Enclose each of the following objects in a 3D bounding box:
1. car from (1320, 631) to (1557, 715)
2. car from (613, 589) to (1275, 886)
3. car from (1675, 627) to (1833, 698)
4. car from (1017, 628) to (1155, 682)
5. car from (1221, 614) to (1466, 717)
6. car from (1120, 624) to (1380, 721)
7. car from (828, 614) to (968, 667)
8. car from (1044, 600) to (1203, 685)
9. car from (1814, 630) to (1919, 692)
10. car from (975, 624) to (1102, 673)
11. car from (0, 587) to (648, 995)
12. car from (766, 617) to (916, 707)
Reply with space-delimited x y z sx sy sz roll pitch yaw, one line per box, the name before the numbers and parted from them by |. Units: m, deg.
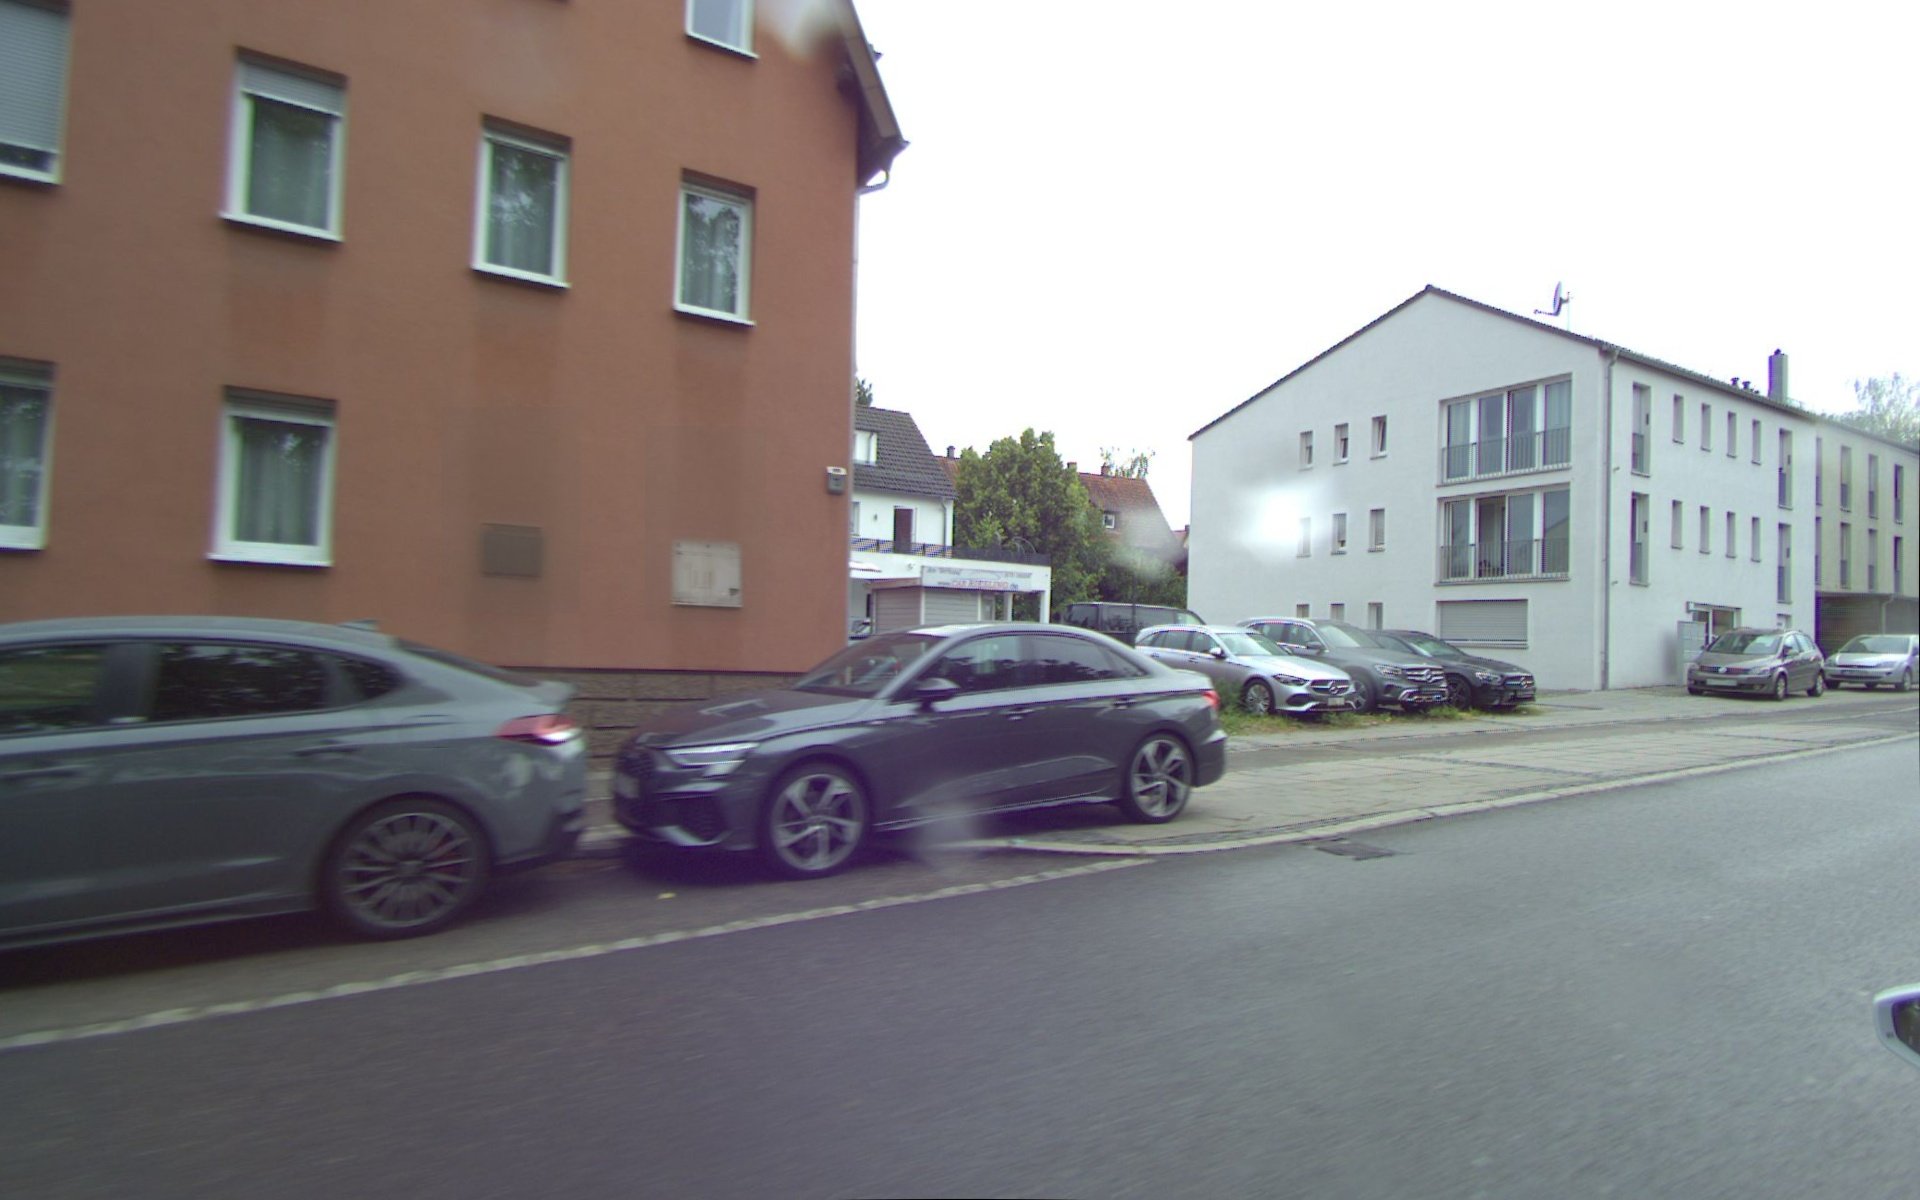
car | 9.482 1.373 20.232 1.974 1.491 3.974 1 -2 -26
car | 0.013 0.757 6.929 4.307 1.502 1.627 2 0 -30
car | 18.726 1.423 23.660 4.050 1.550 1.659 1 -2 -32
car | 3.403 1.438 26.979 3.508 1.364 1.456 1 -2 -28
car | 7.105 1.160 19.063 1.974 1.720 4.136 1 -2 -26
car | 4.960 1.178 17.792 2.043 1.482 4.271 1 -2 -29
car | -1.671 1.097 27.286 3.508 1.364 1.456 1 -2 -28
car | 4.044 1.031 24.847 3.539 1.941 1.833 1 -2 -30
car | 24.762 1.591 26.957 4.050 1.550 1.659 1 -2 -32
car | 2.313 1.392 29.419 3.508 1.364 1.456 1 -2 -28
car | -3.816 0.725 4.543 4.333 1.502 1.736 1 -2 -30
car | -2.594 1.231 21.079 1.973 1.678 3.975 1 -2 -26
